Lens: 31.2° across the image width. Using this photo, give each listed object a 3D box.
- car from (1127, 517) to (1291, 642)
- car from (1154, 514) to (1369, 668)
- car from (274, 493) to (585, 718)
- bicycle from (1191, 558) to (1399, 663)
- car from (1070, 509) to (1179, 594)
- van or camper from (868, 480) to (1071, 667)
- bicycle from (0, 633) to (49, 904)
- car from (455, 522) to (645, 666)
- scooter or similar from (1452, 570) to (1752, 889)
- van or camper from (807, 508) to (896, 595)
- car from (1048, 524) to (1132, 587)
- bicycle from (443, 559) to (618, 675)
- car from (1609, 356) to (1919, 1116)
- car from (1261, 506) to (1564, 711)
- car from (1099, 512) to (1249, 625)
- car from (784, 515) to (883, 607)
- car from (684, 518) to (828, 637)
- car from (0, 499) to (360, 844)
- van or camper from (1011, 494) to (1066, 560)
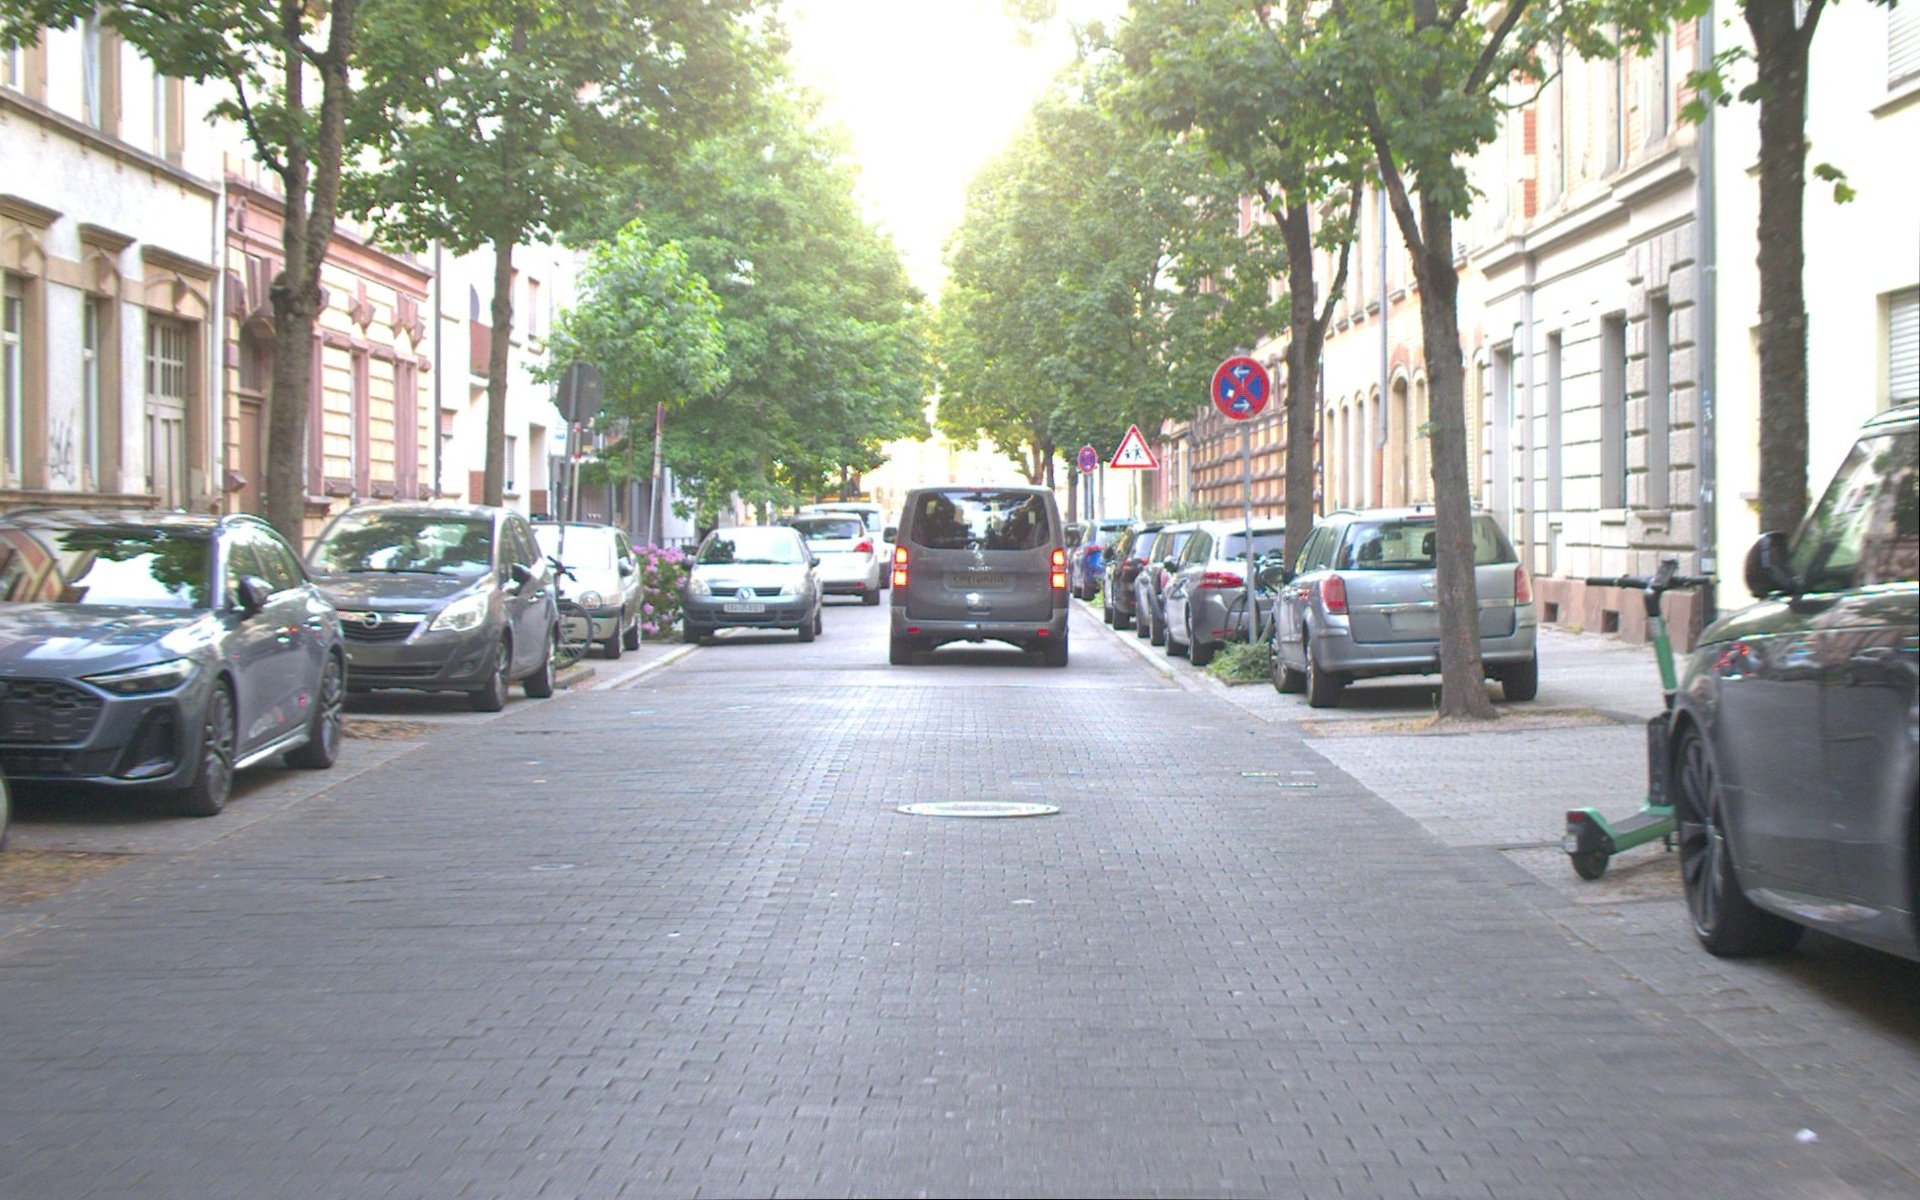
[{"bbox_3d":[2.983,-0.276,41.744,1.635,1.419,3.565,-1,1,-1],"label":"car"},{"bbox_3d":[3.101,-0.137,36.134,1.716,1.471,4.369,-2,1,-2],"label":"car"},{"bbox_3d":[-4.055,-0.021,26.868,1.706,1.575,4.078,2,2,1],"label":"car"},{"bbox_3d":[3.239,0.092,33.237,1.915,0.978,0.638,-1,1,-21],"label":"bicycle"},{"bbox_3d":[2.927,-0.890,61.879,1.627,1.461,4.246,-1,1,-2],"label":"car"},{"bbox_3d":[0.165,-0.312,36.969,2.035,1.891,4.271,0,1,2],"label":"van or camper"},{"bbox_3d":[-4.416,0.599,13.198,1.684,1.000,0.430,3,1,2],"label":"bicycle"},{"bbox_3d":[-4.348,-0.102,36.873,1.587,1.432,3.566,1,1,0],"label":"car"},{"bbox_3d":[2.577,0.498,13.756,0.675,1.186,1.113,-2,1,40],"label":"scooter or similar"},{"bbox_3d":[-2.368,-1.082,75.506,1.876,1.836,4.753,-1,1,-2],"label":"van or camper"},{"bbox_3d":[2.956,-1.044,79.097,1.693,1.396,4.646,-1,1,0],"label":"car"},{"bbox_3d":[-4.195,0.157,33.479,1.827,1.081,0.667,1,0,43],"label":"bicycle"},{"bbox_3d":[3.290,0.264,9.515,2.013,1.827,4.811,-2,1,0],"label":"car"},{"bbox_3d":[3.448,0.005,26.916,1.758,1.458,4.308,-1,1,-1],"label":"car"},{"bbox_3d":[2.878,-0.461,46.995,1.766,1.410,4.474,-2,1,1],"label":"car"},{"bbox_3d":[-2.242,-0.703,60.244,1.663,1.557,4.001,-1,1,-3],"label":"car"},{"bbox_3d":[-2.517,-0.305,43.091,1.580,1.415,3.753,-1,1,0],"label":"car"},{"bbox_3d":[-4.401,0.257,17.610,1.806,1.512,4.685,1,1,0],"label":"car"},{"bbox_3d":[3.140,-2.919,138.336,1.993,2.590,5.425,0,1,-1],"label":"van or camper"}]
